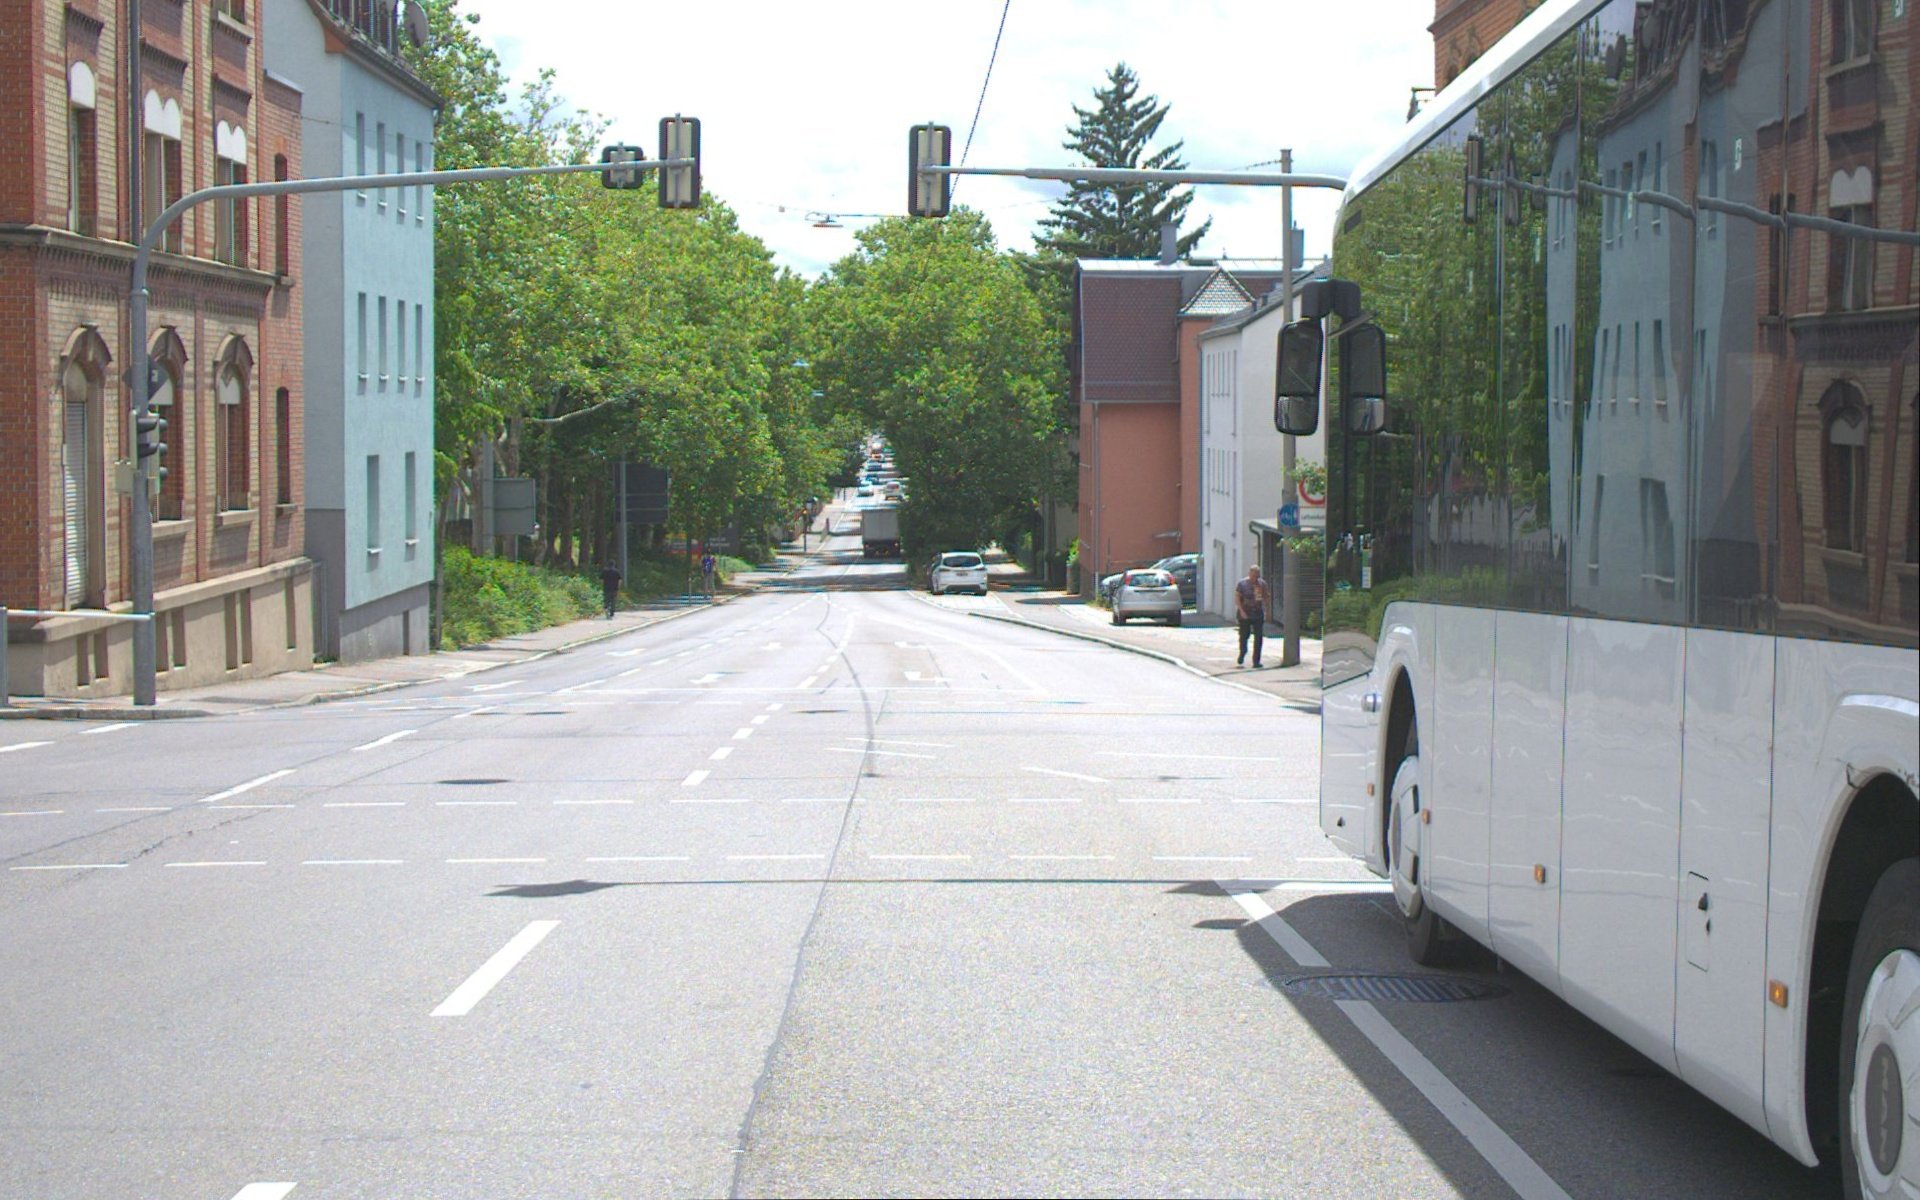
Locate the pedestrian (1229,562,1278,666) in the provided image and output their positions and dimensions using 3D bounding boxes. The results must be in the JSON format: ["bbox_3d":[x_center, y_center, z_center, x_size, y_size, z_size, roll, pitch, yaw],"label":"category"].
[{"bbox_3d":[5.001,0.228,58.578,0.738,1.744,0.619,-1,1,-1],"label":"pedestrian"}]

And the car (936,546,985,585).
[{"bbox_3d":[0.023,-1.307,129.220,1.794,1.405,4.000,1,1,0],"label":"car"}]

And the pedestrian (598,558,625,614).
[{"bbox_3d":[-9.852,-0.402,97.235,0.729,1.560,0.561,0,1,-1],"label":"pedestrian"}]

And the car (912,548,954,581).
[{"bbox_3d":[-1.191,-1.593,153.933,1.794,1.405,4.419,1,1,0],"label":"car"}]

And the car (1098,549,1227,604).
[{"bbox_3d":[6.654,-0.784,113.170,3.986,1.751,2.000,-1,1,-5],"label":"car"}]

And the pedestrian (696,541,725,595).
[{"bbox_3d":[-9.400,-1.212,129.433,0.995,2.007,1.189,-1,1,-1],"label":"pedestrian"}]

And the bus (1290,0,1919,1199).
[{"bbox_3d":[2.883,-0.229,9.269,2.672,3.145,12.462,0,1,0],"label":"bus"}]

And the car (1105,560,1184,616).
[{"bbox_3d":[4.978,-0.335,93.072,1.794,1.405,4.001,-1,1,-2],"label":"car"}]

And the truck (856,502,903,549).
[{"bbox_3d":[-5.462,-5.059,232.641,2.926,3.070,7.886,-1,1,-3],"label":"truck"}]

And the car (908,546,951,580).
[{"bbox_3d":[-1.287,-1.595,146.500,1.794,1.405,4.419,1,1,0],"label":"car"}]
